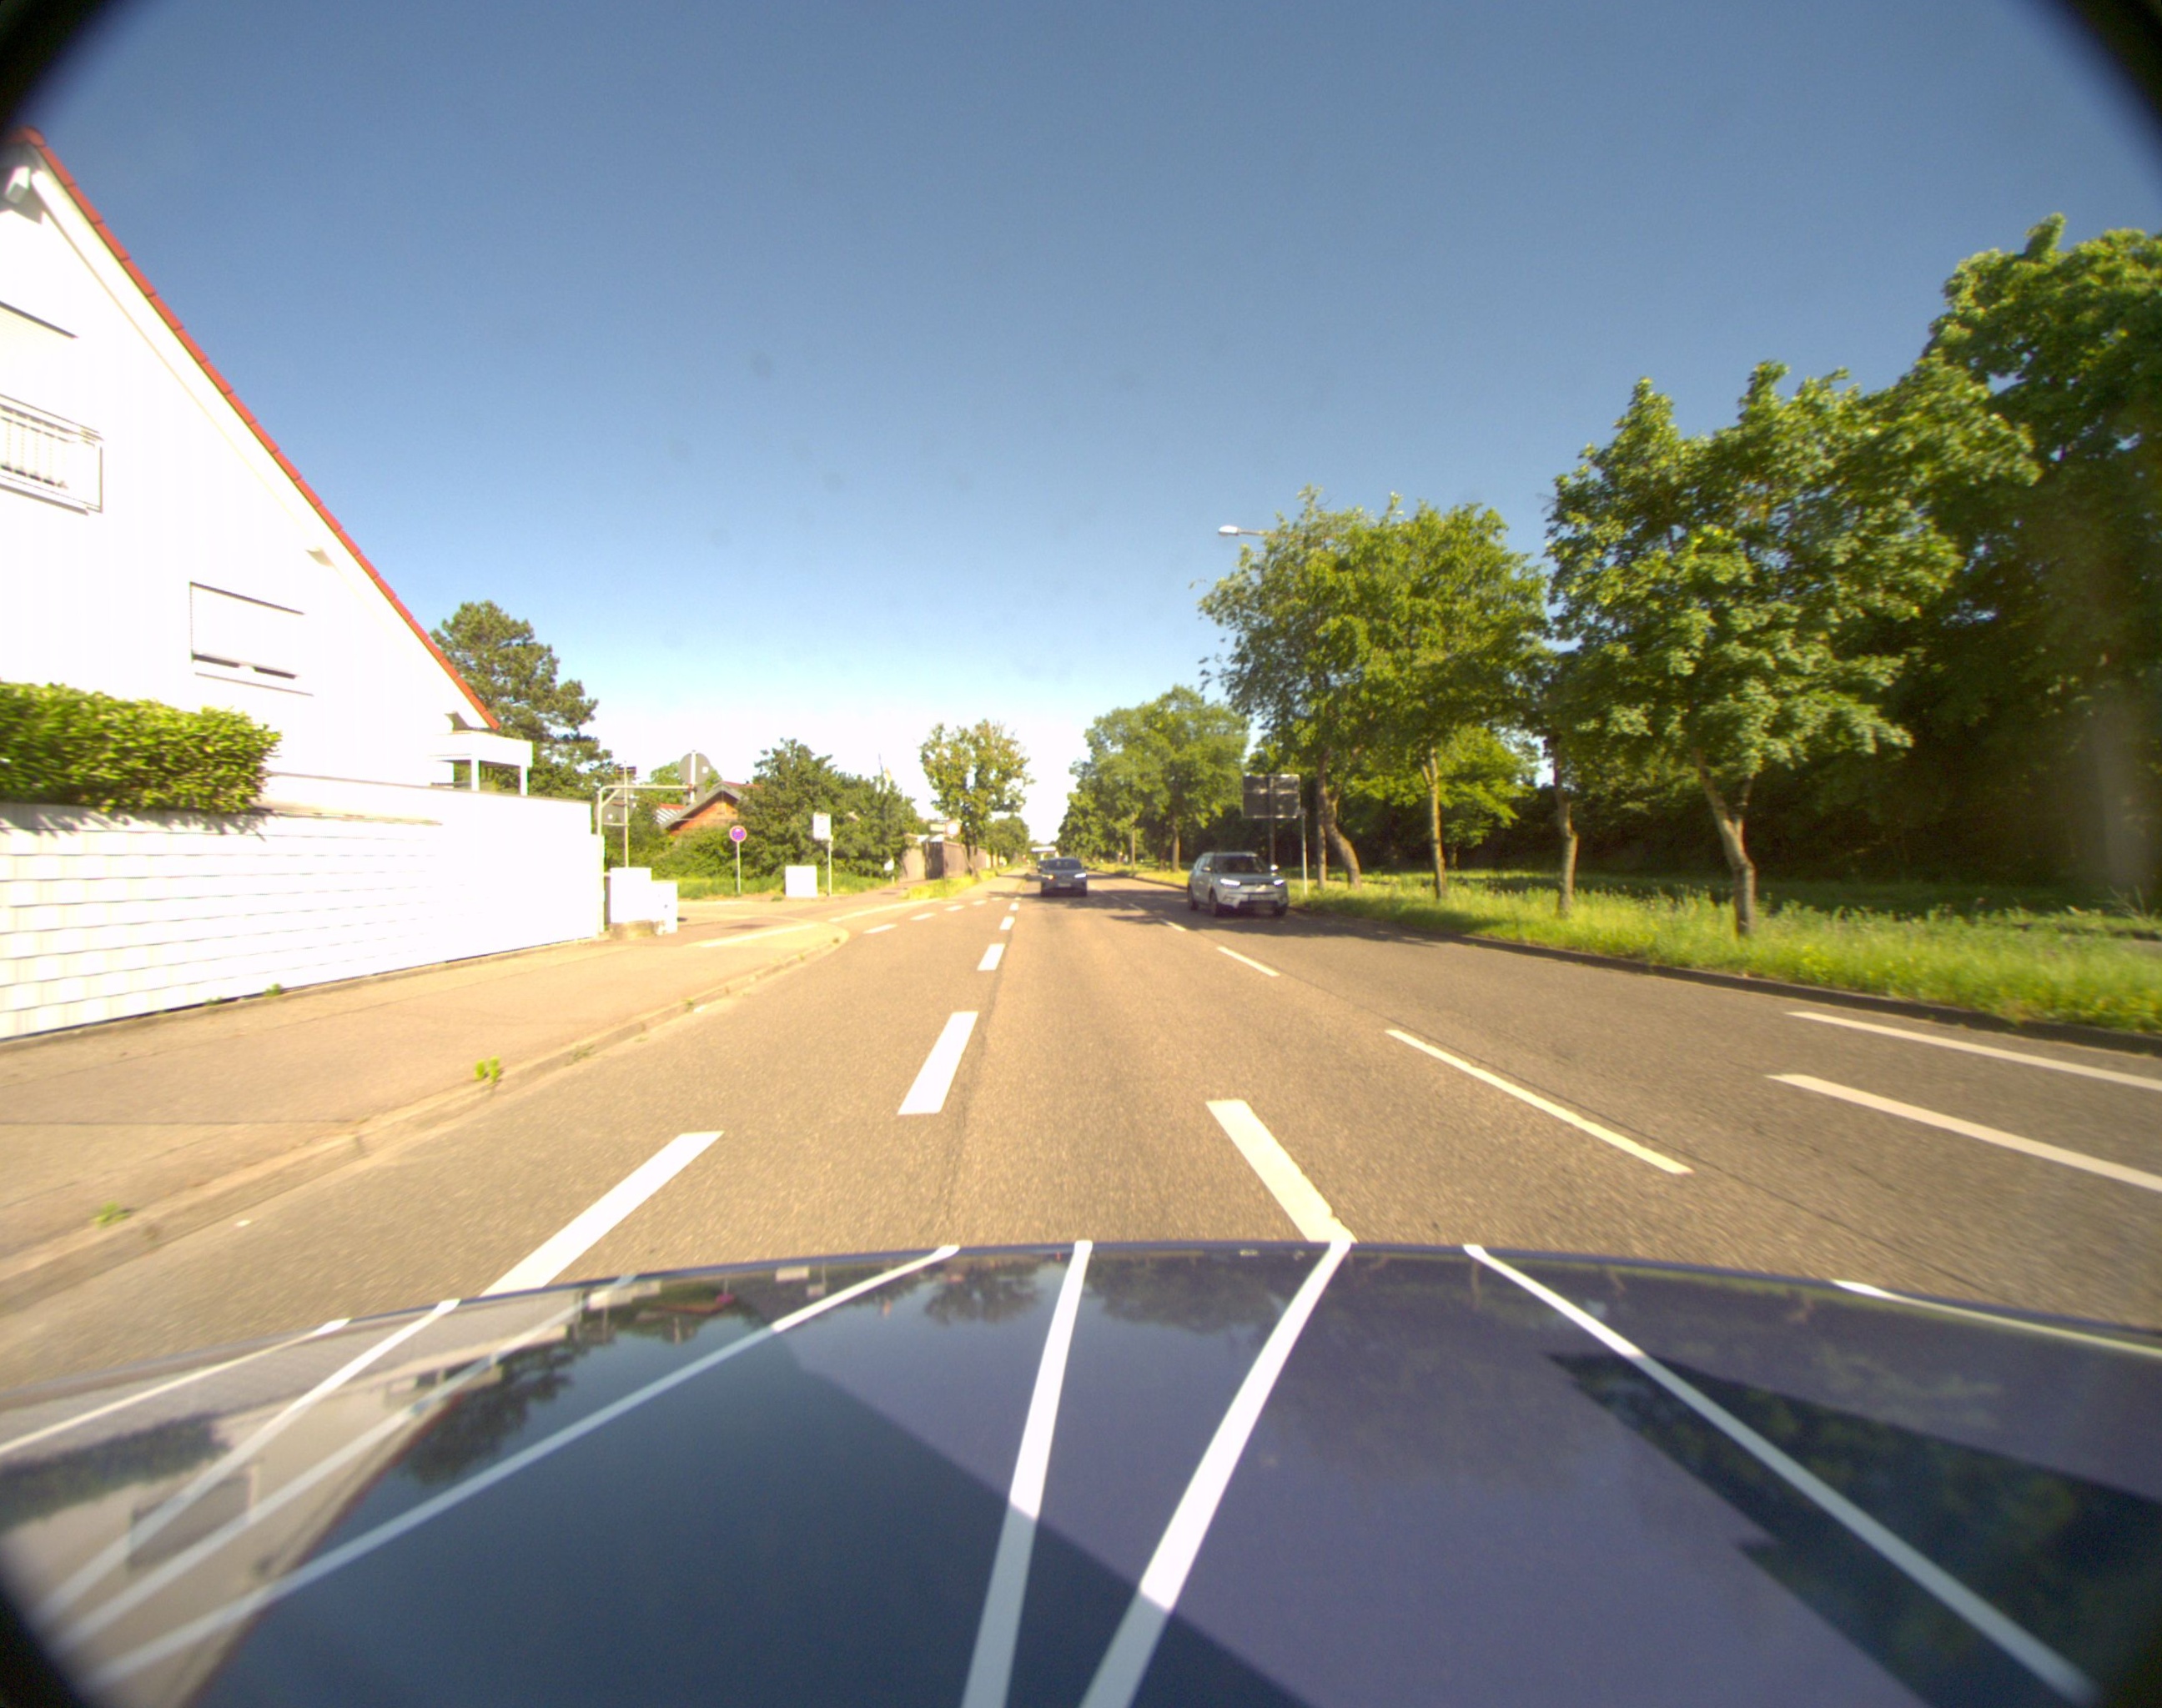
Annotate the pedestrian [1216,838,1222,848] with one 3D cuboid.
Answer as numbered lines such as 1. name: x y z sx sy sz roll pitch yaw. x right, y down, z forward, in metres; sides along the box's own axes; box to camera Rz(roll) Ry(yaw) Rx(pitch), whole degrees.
1. pedestrian: 22.758 -1.874 125.520 0.683 1.650 0.679 -4 2 -5

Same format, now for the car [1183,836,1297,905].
1. car: 3.993 0.388 19.736 1.790 1.600 4.104 0 0 -5

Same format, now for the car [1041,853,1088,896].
1. car: -0.741 0.797 31.598 1.766 1.606 4.295 -2 0 -3

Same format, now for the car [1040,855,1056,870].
1. car: -3.812 0.976 87.944 1.766 1.606 4.295 -2 0 -3

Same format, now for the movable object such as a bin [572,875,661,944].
1. movable object such as a bin: -8.830 1.033 14.502 1.004 1.198 1.063 2 1 4
